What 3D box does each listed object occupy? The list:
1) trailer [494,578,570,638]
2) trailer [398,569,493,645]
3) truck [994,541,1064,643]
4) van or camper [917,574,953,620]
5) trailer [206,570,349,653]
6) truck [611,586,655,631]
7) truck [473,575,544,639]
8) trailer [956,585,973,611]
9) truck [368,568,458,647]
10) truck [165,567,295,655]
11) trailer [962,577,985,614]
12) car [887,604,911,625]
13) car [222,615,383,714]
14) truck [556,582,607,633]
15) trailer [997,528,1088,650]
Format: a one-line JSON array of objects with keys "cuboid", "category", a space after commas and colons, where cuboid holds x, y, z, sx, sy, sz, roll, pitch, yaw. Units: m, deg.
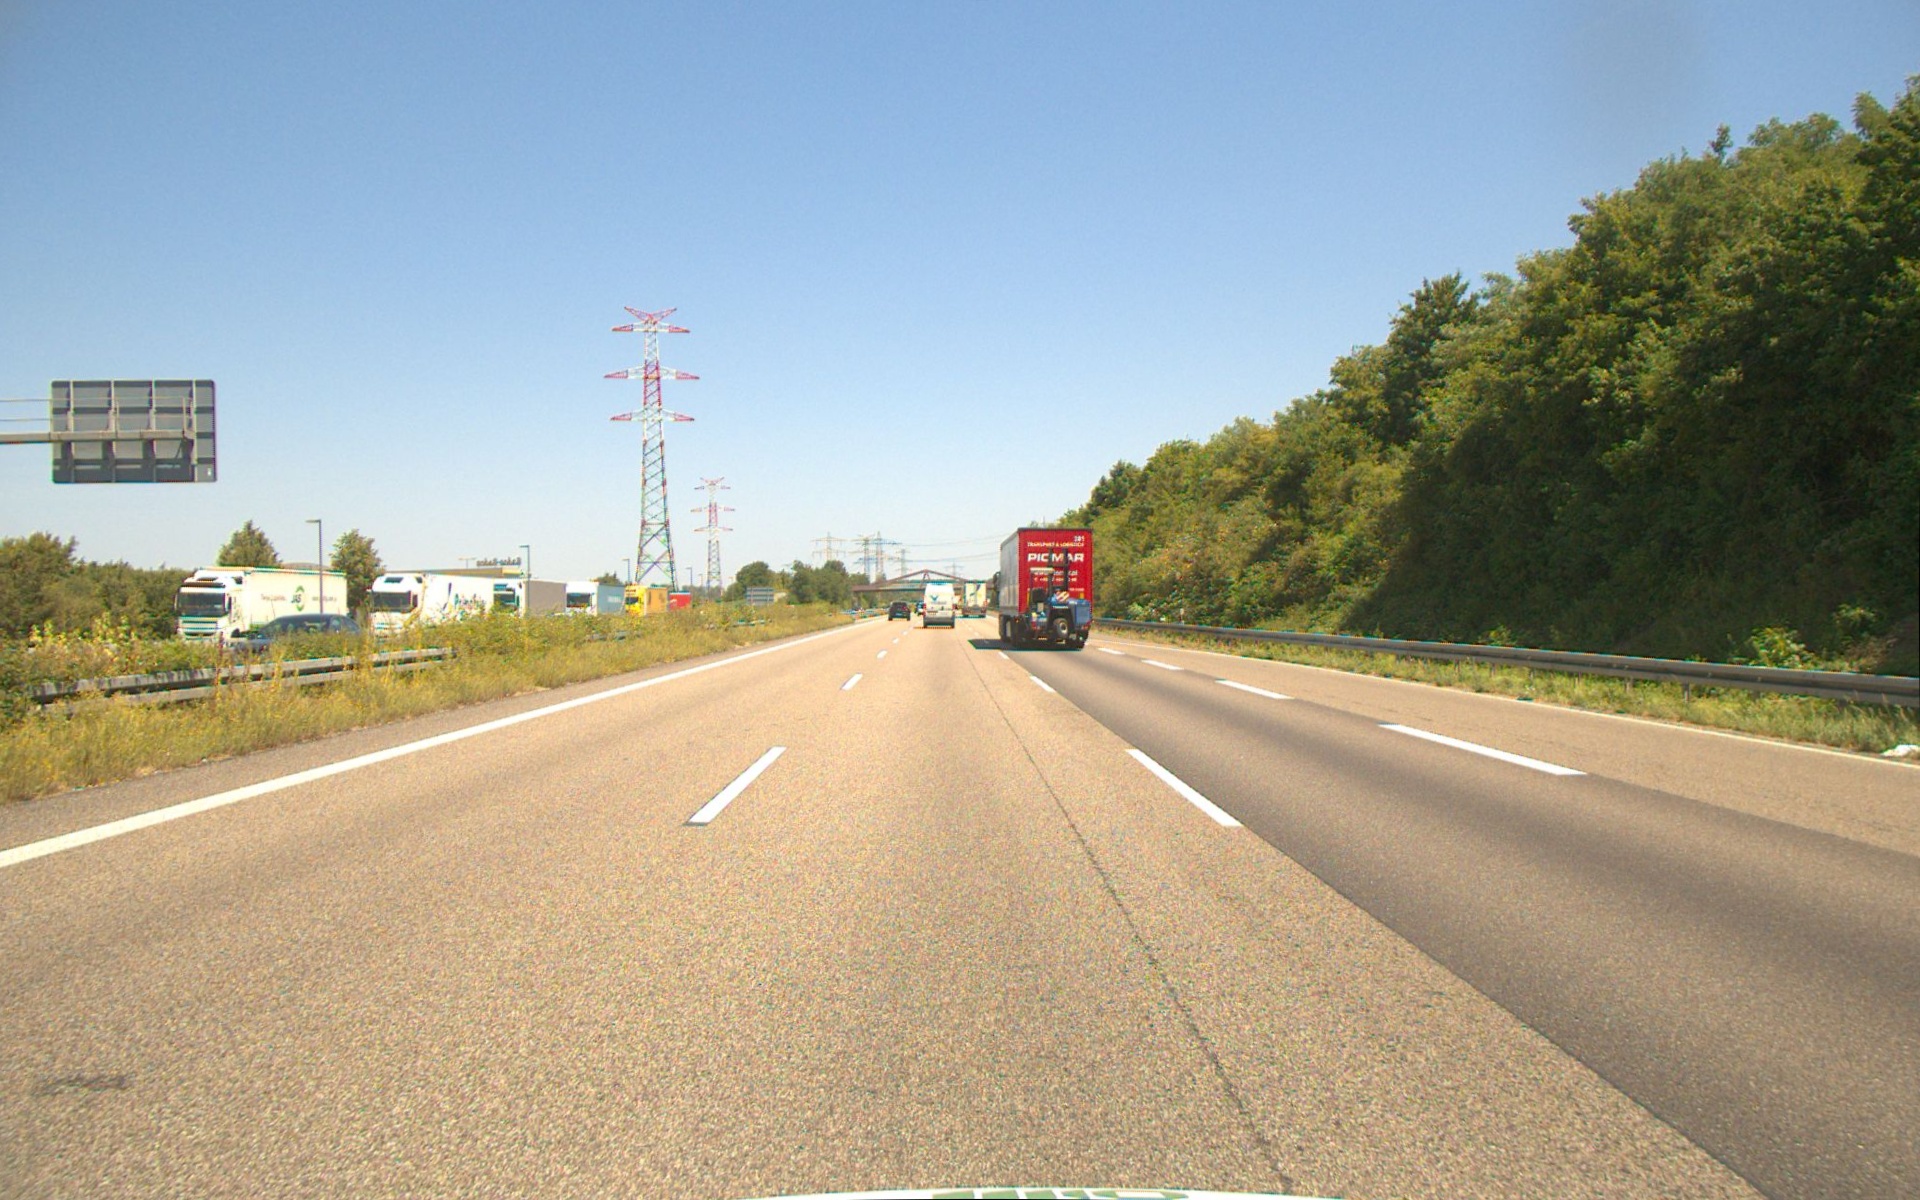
[{"cuboid": [-31.781, 0.586, 123.279, 3.050, 4.231, 11.011, 1, 0, -2], "category": "trailer"}, {"cuboid": [-30.986, 0.426, 100.077, 2.546, 4.292, 10.512, 1, 0, -1], "category": "trailer"}, {"cuboid": [2.759, -0.288, 67.882, 2.448, 3.988, 7.095, 0, 0, -1], "category": "truck"}, {"cuboid": [-1.546, -0.162, 105.420, 2.185, 2.831, 5.422, 1, 0, 0], "category": "van or camper"}, {"cuboid": [-37.368, 0.601, 91.189, 3.031, 4.229, 12.007, 1, 0, -1], "category": "trailer"}, {"cuboid": [-32.036, 0.824, 162.309, 2.776, 4.274, 7.916, 1, 0, -1], "category": "truck"}, {"cuboid": [-31.532, 0.490, 115.886, 3.054, 4.231, 7.501, 1, 0, -2], "category": "truck"}, {"cuboid": [0.664, -0.308, 257.357, 2.583, 3.965, 7.068, 1, 0, 0], "category": "trailer"}, {"cuboid": [-30.865, 0.411, 93.673, 2.529, 4.262, 7.934, 0, 0, -1], "category": "truck"}, {"cuboid": [-37.248, 0.575, 84.765, 3.032, 4.225, 8.314, 1, 0, -1], "category": "truck"}, {"cuboid": [1.574, -0.454, 192.310, 2.583, 4.131, 12.365, 1, 0, 0], "category": "trailer"}, {"cuboid": [-5.538, 1.319, 150.089, 1.941, 1.849, 3.813, 1, 0, 1], "category": "car"}, {"cuboid": [-13.228, 1.249, 33.526, 1.718, 1.836, 3.903, 1, 0, -1], "category": "car"}, {"cuboid": [-32.085, 0.652, 140.542, 2.792, 4.144, 7.087, 1, 0, -2], "category": "truck"}, {"cuboid": [2.869, -0.330, 61.259, 2.440, 3.978, 14.242, 0, 0, -1], "category": "trailer"}]
